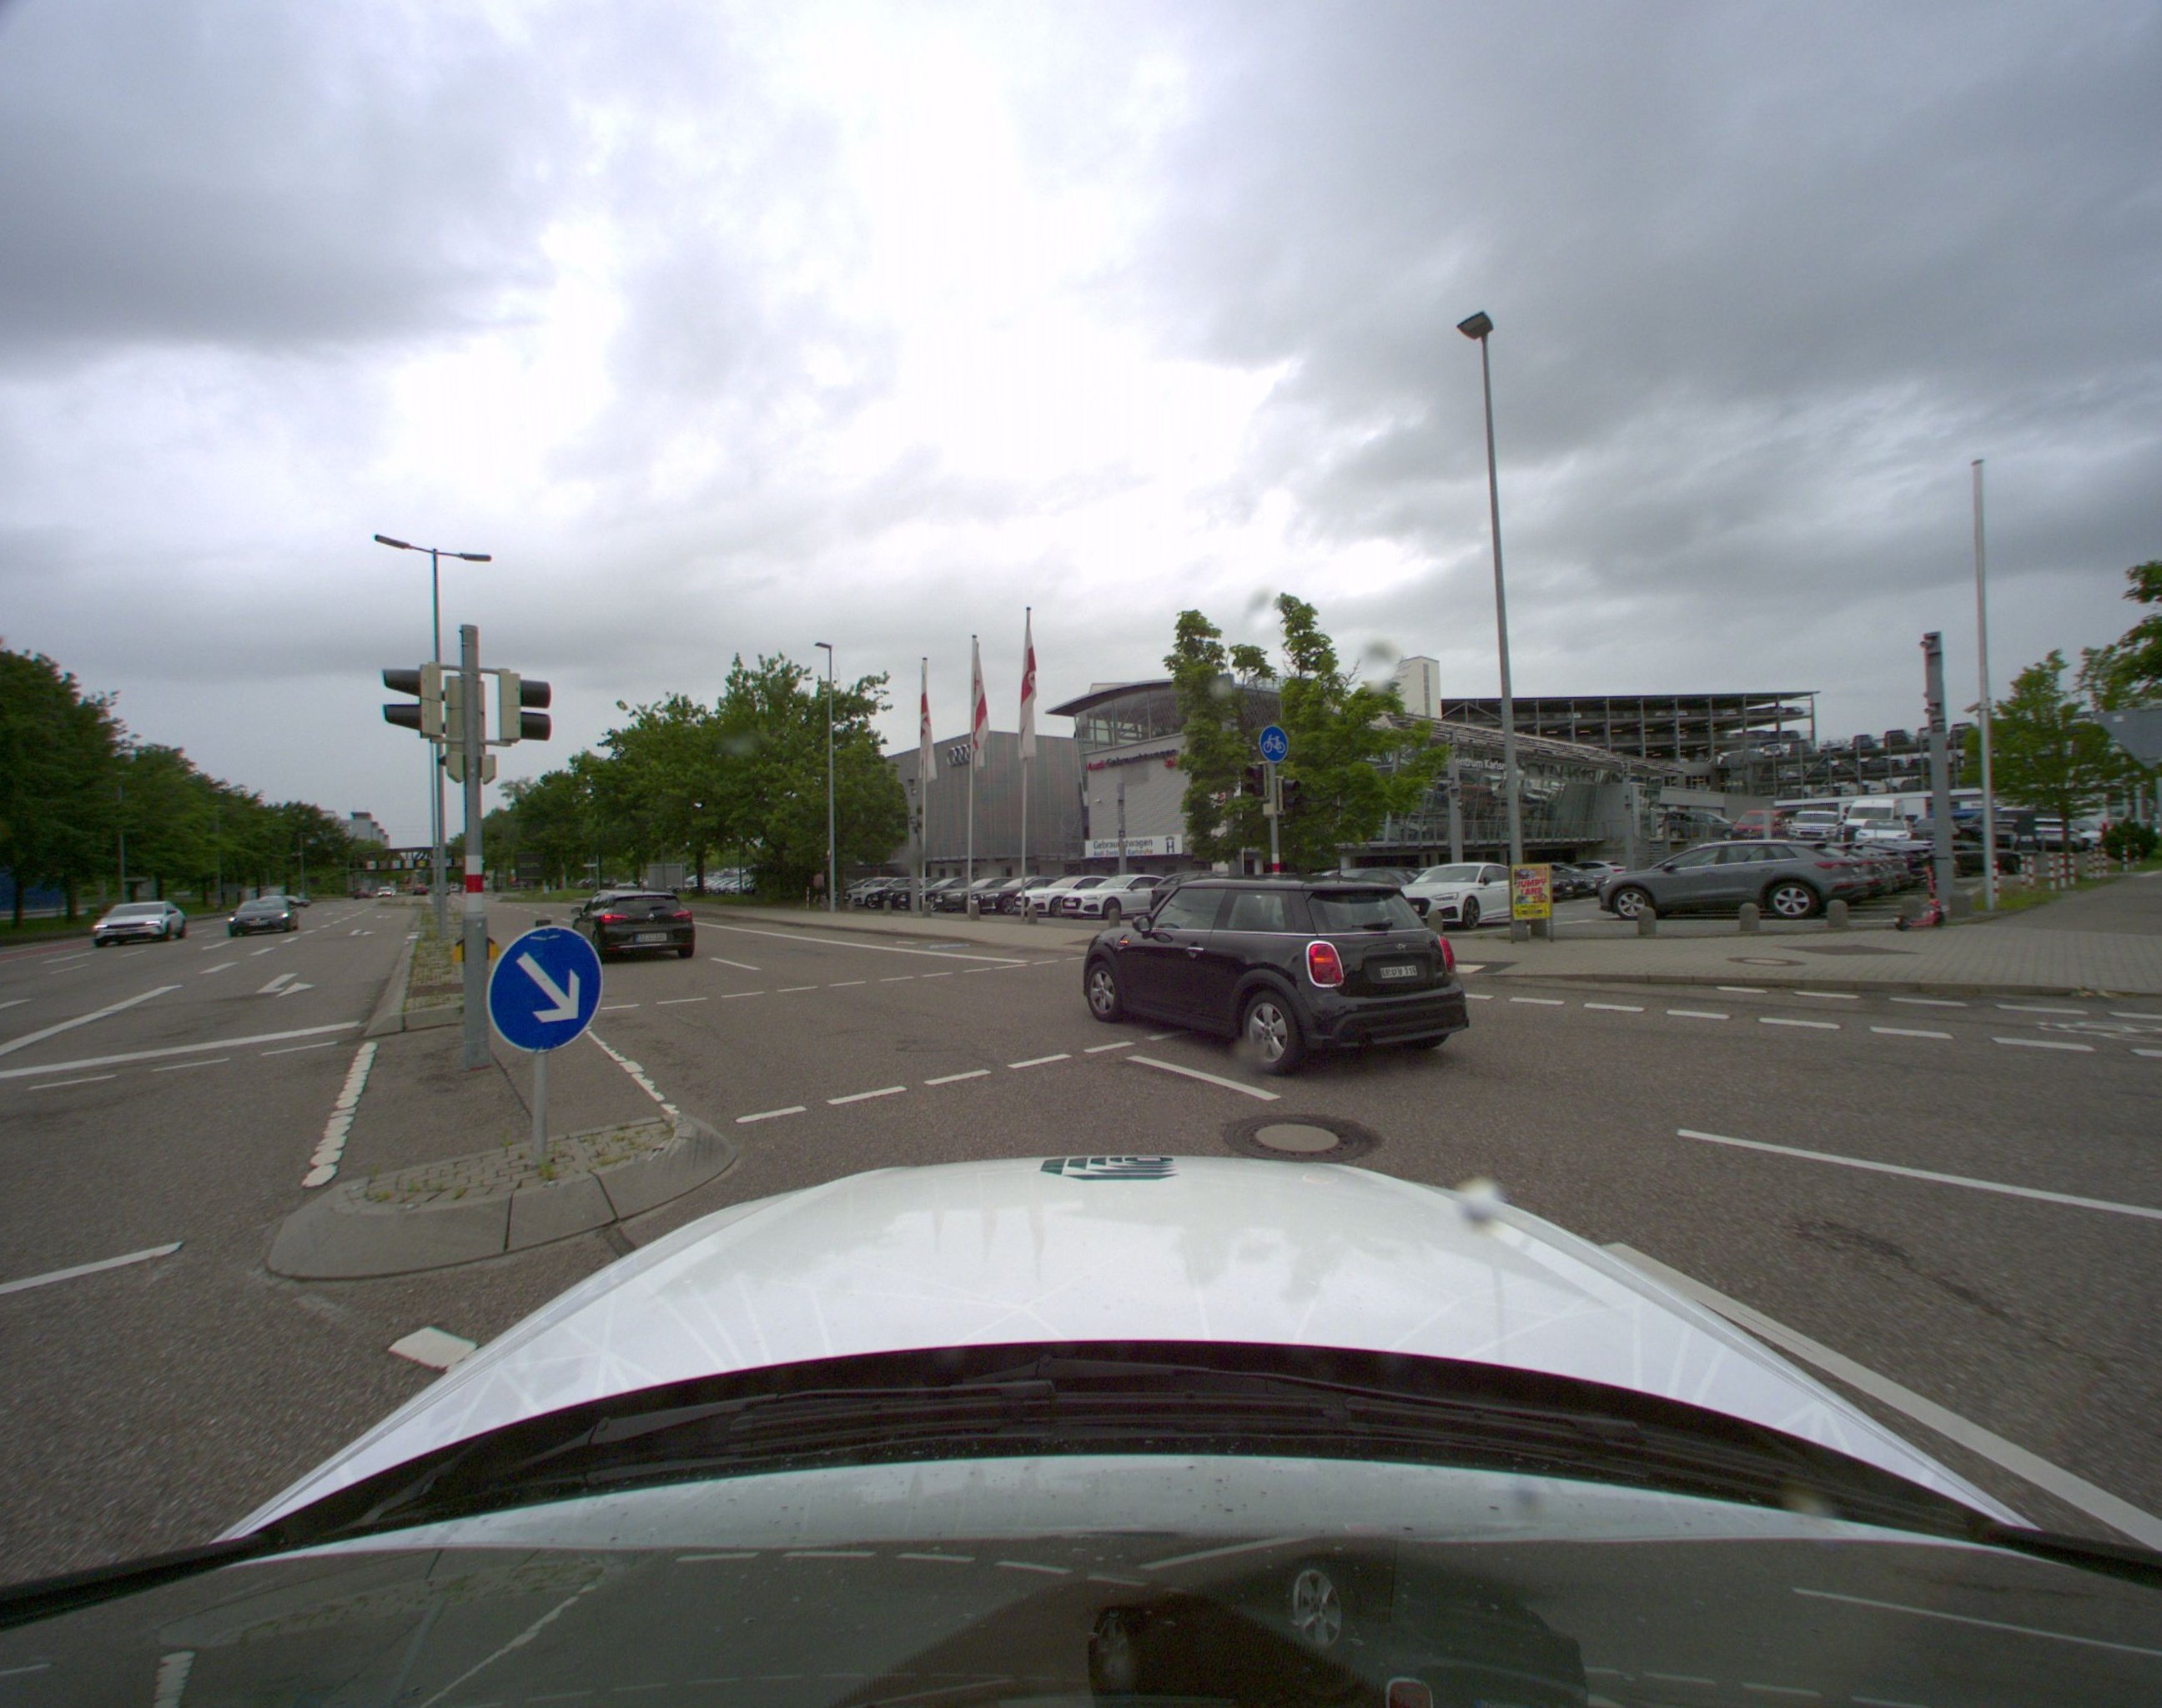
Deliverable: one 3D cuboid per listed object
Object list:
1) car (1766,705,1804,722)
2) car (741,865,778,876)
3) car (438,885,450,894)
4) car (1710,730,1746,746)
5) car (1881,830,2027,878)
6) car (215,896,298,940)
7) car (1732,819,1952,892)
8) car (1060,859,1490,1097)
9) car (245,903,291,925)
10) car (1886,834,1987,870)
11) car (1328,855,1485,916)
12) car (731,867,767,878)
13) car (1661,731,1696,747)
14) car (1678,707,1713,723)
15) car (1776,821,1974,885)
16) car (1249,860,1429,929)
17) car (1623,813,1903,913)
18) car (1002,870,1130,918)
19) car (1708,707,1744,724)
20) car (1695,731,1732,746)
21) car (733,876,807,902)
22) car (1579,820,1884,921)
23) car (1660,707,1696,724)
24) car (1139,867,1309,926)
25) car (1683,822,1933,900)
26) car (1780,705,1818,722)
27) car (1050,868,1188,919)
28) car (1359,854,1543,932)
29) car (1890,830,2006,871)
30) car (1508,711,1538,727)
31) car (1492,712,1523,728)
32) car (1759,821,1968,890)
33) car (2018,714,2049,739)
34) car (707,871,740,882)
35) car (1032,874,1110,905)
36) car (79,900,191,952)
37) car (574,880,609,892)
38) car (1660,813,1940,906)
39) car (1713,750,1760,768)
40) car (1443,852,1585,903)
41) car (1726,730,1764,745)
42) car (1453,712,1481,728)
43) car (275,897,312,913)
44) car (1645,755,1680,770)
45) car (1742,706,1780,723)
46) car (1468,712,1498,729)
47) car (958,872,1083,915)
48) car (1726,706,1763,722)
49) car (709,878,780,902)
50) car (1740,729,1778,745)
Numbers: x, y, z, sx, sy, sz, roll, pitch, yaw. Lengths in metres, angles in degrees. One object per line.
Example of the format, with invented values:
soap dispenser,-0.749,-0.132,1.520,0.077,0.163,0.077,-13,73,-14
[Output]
car,101.769,-20.281,117.779,1.989,1.667,3.996,-1,0,-3
car,-41.963,2.130,106.377,4.120,1.436,1.710,0,0,-40
car,-148.893,8.329,190.406,1.965,1.816,3.956,0,0,-36
car,92.733,-16.612,116.767,1.989,1.667,3.996,-1,0,-3
car,35.971,0.008,33.643,1.768,1.838,3.955,0,0,-37
car,-34.082,2.587,33.775,1.873,1.462,4.281,-3,1,-39
car,24.276,0.140,26.152,2.010,2.014,4.851,0,-3,-39
car,1.426,0.813,7.290,1.796,1.415,3.611,-3,2,-27
car,-67.094,4.895,67.287,1.871,1.462,4.285,-3,1,-35
car,50.880,-0.125,48.471,2.009,2.013,3.955,0,0,-38
car,11.429,1.106,28.867,2.009,1.940,4.762,-1,-1,-37
car,-45.037,2.490,110.464,4.234,1.436,1.710,0,0,-40
car,85.055,-16.410,116.025,1.989,1.667,3.996,-1,0,-3
car,87.781,-19.816,116.381,1.989,1.667,3.996,-1,0,-3
car,28.682,0.034,29.581,2.010,2.014,4.851,0,-3,-39
car,6.340,0.995,19.815,4.539,1.486,2.045,3,-5,-40
car,15.787,0.309,19.101,2.010,2.014,4.661,0,-3,-39
car,-0.464,1.351,27.650,4.063,1.486,1.855,2,-3,-38
car,92.804,-19.946,117.231,1.989,1.667,3.996,-1,0,-3
car,90.490,-16.527,116.554,1.989,1.667,3.996,-1,0,-3
car,-20.534,2.341,53.831,4.096,1.486,1.798,5,-4,-39
car,13.754,0.439,17.505,2.010,1.863,4.731,0,-3,-39
car,85.132,-19.731,116.157,1.989,1.667,3.996,-1,0,-3
car,3.904,1.190,23.026,1.902,1.486,4.700,3,-4,-38
car,20.133,0.279,22.768,2.065,1.876,4.903,0,-4,-41
car,103.982,-20.332,118.004,1.989,1.667,3.996,-1,0,-3
car,1.257,1.255,25.756,4.218,1.486,1.831,2,-3,-38
car,8.073,0.818,17.629,4.249,1.486,1.853,1,-3,-38
car,44.753,-0.160,42.102,2.009,2.013,3.955,0,0,-38
car,62.175,-19.004,114.652,1.989,1.667,3.996,-1,0,-3
car,59.804,-18.788,114.240,1.989,1.667,3.996,-1,0,-3
car,26.493,0.116,27.748,2.010,2.014,4.851,0,-3,-39
car,98.982,-13.200,84.621,4.020,1.883,1.977,0,-2,-39
car,-52.639,3.316,119.817,4.120,1.436,1.710,0,0,-40
car,-0.514,1.923,45.221,4.136,1.544,1.795,0,0,-39
car,-37.452,2.780,32.389,2.010,1.594,4.524,-6,2,-39
car,-65.584,4.267,109.083,4.014,1.436,1.712,0,0,-33
car,18.226,0.240,20.883,2.277,2.014,4.980,0,-3,-39
car,95.258,-13.798,118.442,2.201,1.945,5.319,-1,0,-6
car,17.909,0.968,33.925,2.009,1.940,4.762,-1,-1,-37
car,95.512,-16.753,117.195,1.989,1.667,3.996,-1,0,-3
car,54.122,-18.783,114.256,1.989,1.667,3.996,-1,0,-3
car,-84.529,5.425,87.457,1.931,1.502,4.208,-4,0,-32
car,82.736,-13.017,115.972,1.989,1.667,3.996,-1,0,-3
car,97.981,-20.109,117.346,1.989,1.667,3.996,-1,0,-3
car,56.532,-18.785,114.607,1.989,1.667,3.996,-1,0,-3
car,-2.180,1.442,29.779,4.252,1.486,1.850,2,-3,-38
car,95.467,-20.110,117.266,1.989,1.667,3.996,-1,0,-3
car,-23.846,2.556,57.712,4.214,1.486,1.954,5,-3,-38
car,97.734,-16.837,117.431,1.989,1.667,3.996,-1,0,-3
